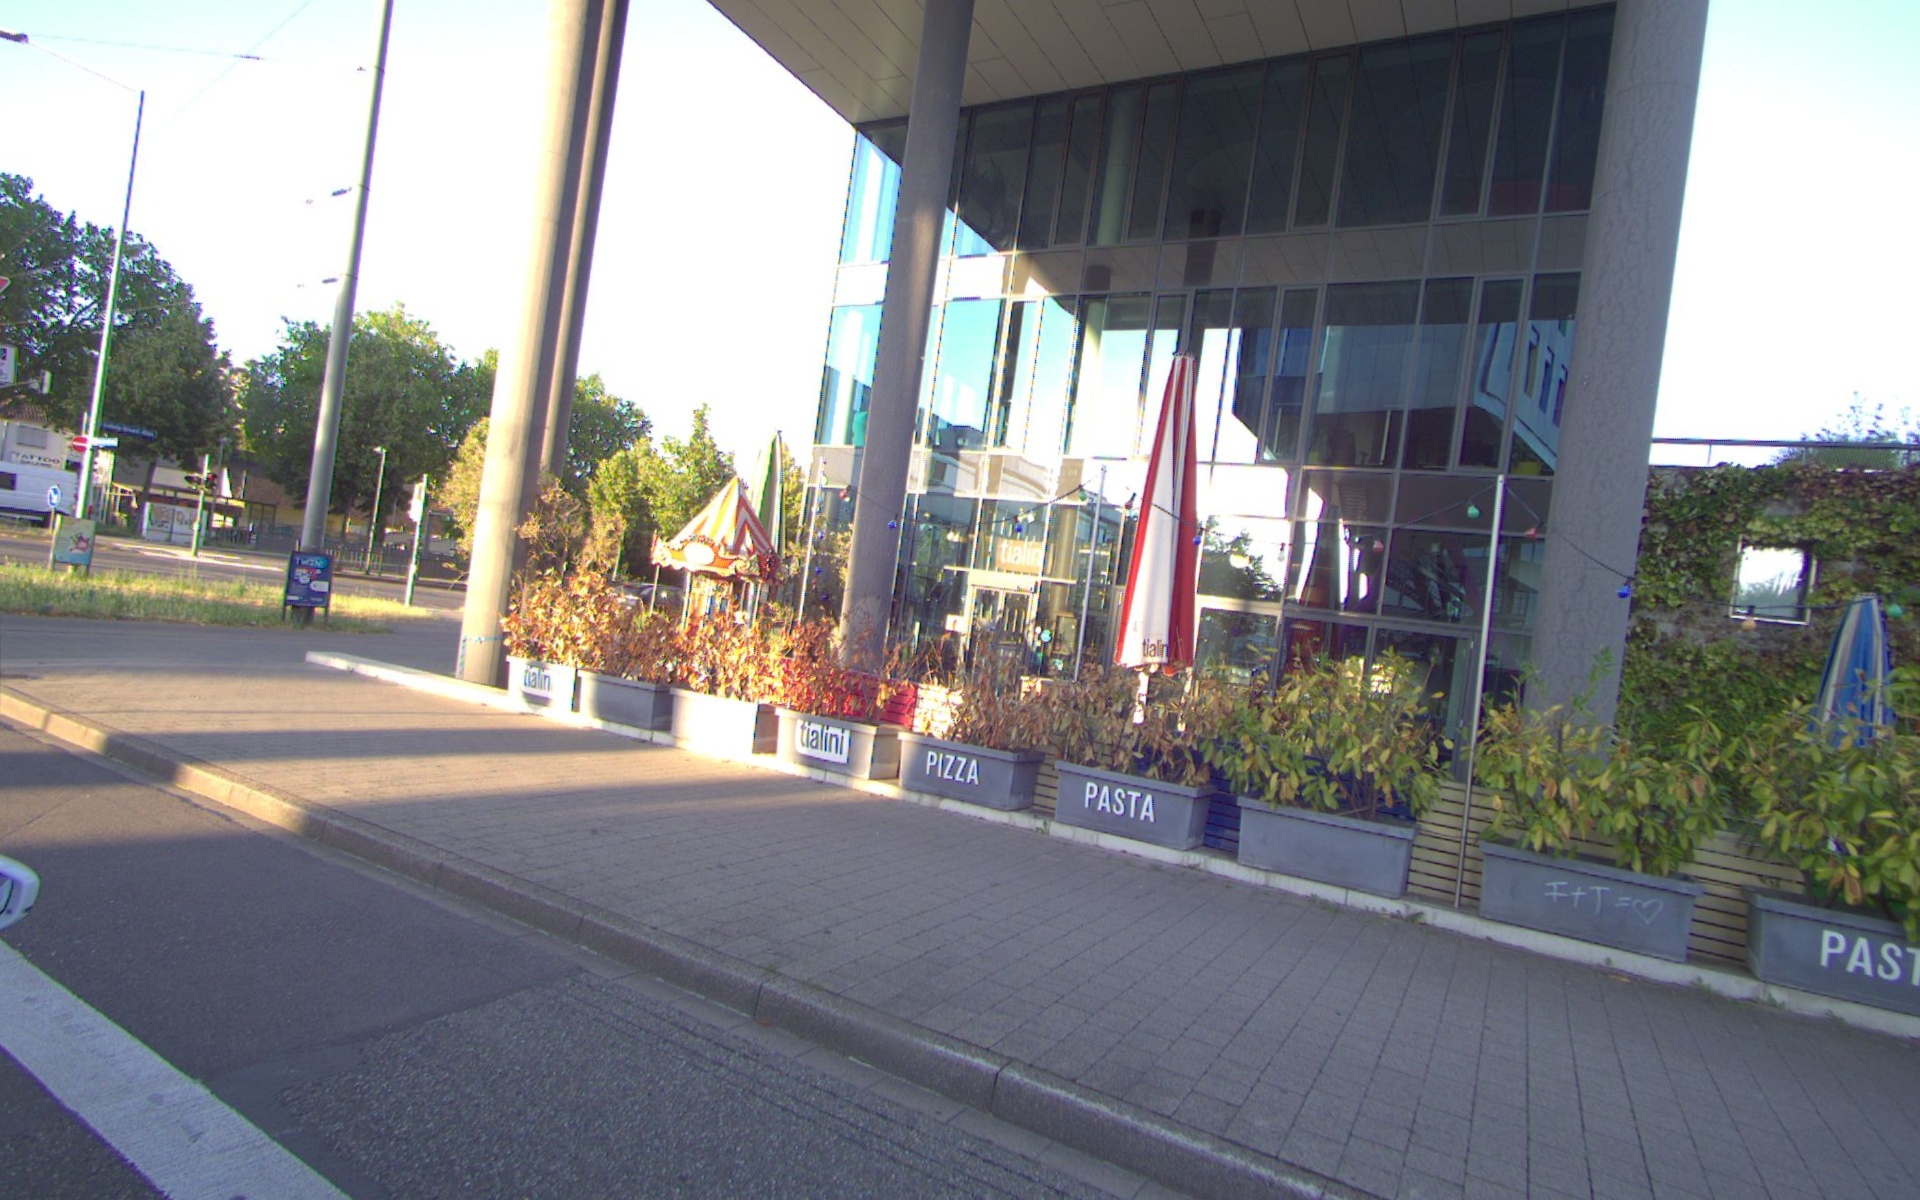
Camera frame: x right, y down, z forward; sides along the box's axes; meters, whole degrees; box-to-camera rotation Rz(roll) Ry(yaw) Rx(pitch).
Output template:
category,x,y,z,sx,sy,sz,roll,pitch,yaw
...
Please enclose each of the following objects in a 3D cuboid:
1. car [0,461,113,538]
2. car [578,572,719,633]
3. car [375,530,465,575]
category,x,y,z,sx,sy,sz,roll,pitch,yaw
car,-40.689,-4.508,42.407,2.765,2.666,6.931,6,-2,32
car,-11.527,0.139,37.597,1.966,1.633,4.920,7,-2,29
car,-42.621,-3.703,79.522,2.197,2.581,5.594,7,-2,39
